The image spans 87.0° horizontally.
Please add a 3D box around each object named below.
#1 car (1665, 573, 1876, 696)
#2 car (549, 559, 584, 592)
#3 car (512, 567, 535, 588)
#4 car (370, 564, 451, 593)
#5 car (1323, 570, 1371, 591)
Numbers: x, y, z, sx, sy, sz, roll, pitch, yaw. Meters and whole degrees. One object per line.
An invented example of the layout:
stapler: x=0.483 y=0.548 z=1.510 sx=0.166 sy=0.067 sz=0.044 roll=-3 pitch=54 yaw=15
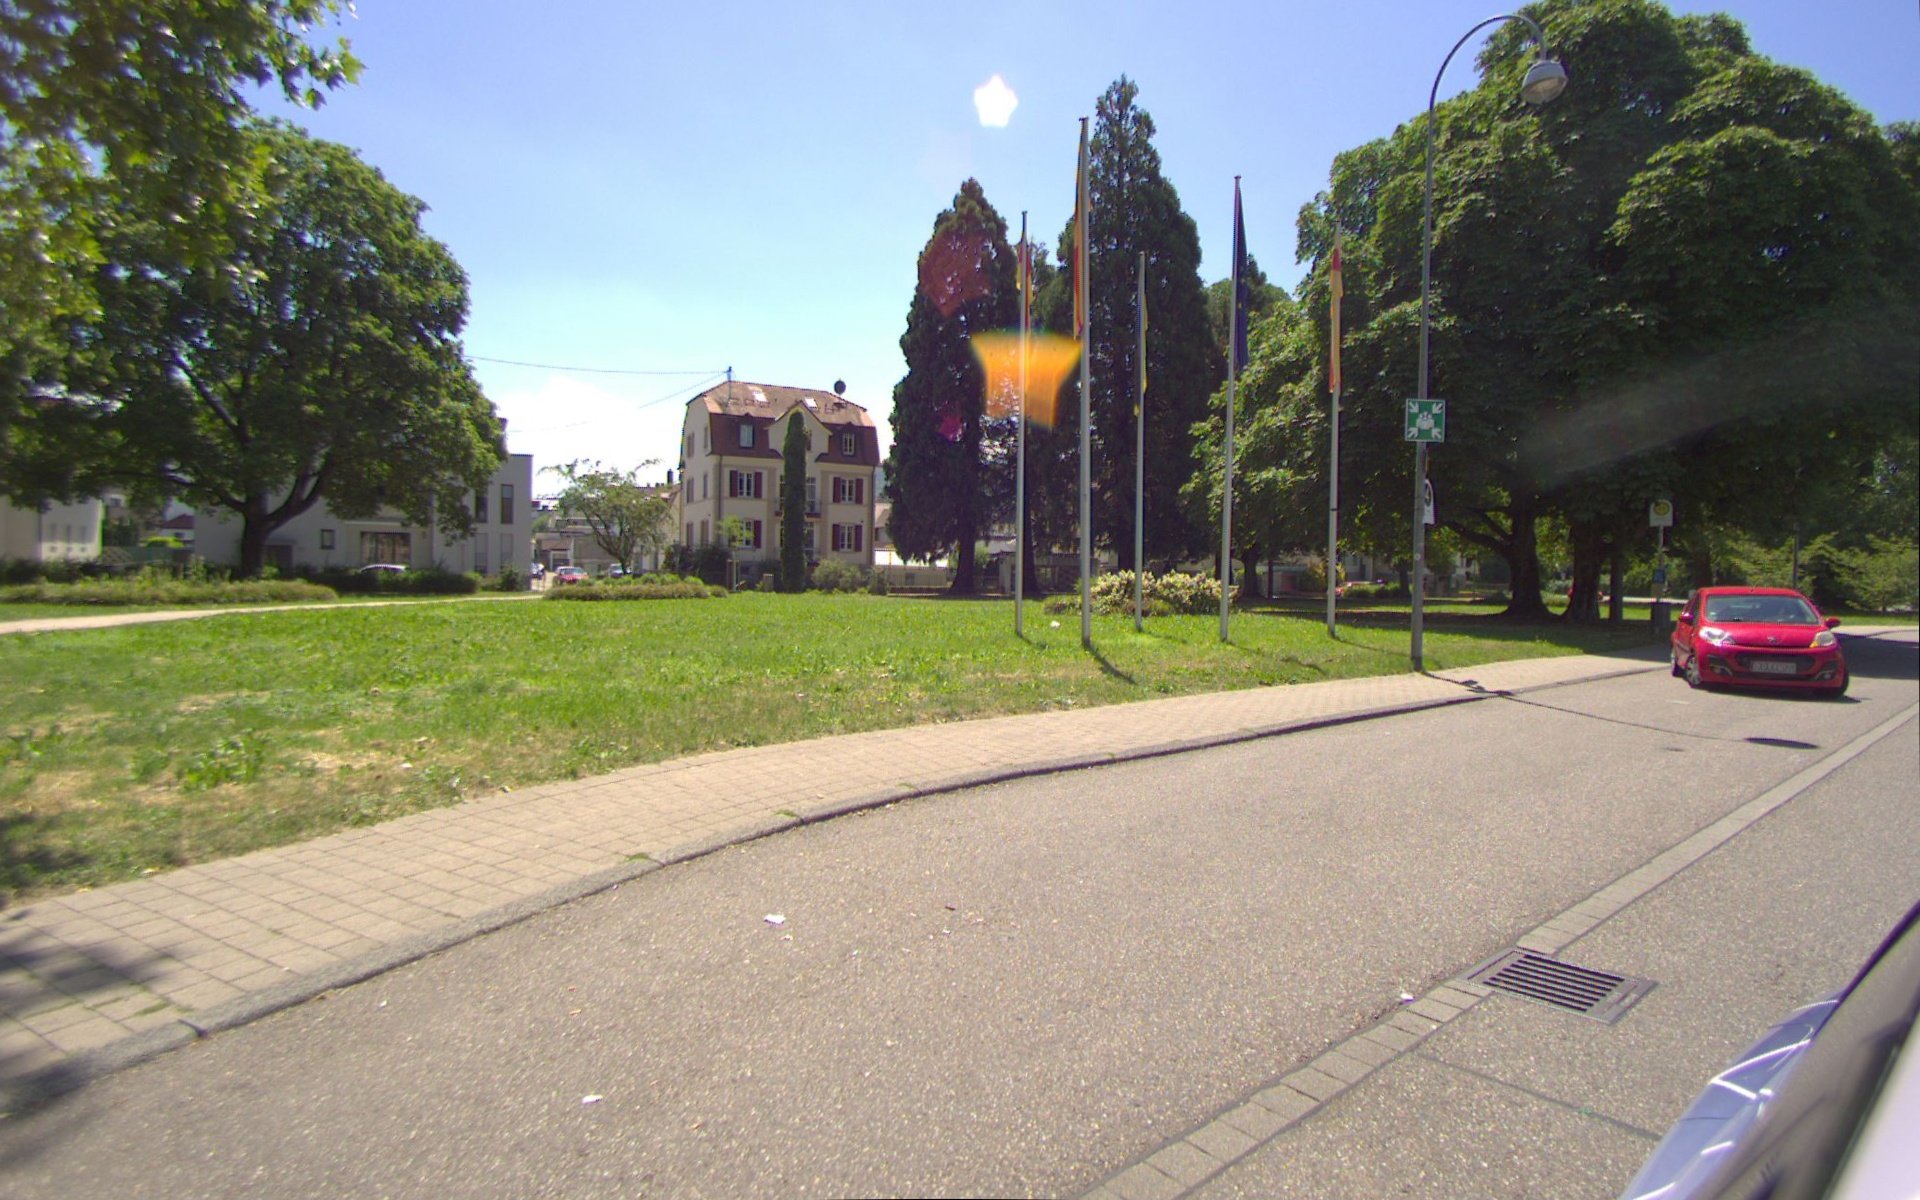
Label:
car: x=11.614 y=0.379 z=14.764 sx=1.709 sy=1.496 sz=3.670 roll=2 pitch=2 yaw=28
car: x=-25.074 y=-1.584 z=64.464 sx=1.793 sy=1.981 sz=3.768 roll=-2 pitch=3 yaw=-25
car: x=-44.817 y=-2.356 z=103.938 sx=1.959 sy=2.038 sz=4.008 roll=-2 pitch=3 yaw=-26
car: x=-28.336 y=-1.123 z=52.253 sx=3.631 sy=1.450 sz=1.468 roll=0 pitch=2 yaw=-29
car: x=32.538 y=-1.640 z=85.134 sx=3.921 sy=1.619 sz=1.705 roll=-2 pitch=3 yaw=-30
